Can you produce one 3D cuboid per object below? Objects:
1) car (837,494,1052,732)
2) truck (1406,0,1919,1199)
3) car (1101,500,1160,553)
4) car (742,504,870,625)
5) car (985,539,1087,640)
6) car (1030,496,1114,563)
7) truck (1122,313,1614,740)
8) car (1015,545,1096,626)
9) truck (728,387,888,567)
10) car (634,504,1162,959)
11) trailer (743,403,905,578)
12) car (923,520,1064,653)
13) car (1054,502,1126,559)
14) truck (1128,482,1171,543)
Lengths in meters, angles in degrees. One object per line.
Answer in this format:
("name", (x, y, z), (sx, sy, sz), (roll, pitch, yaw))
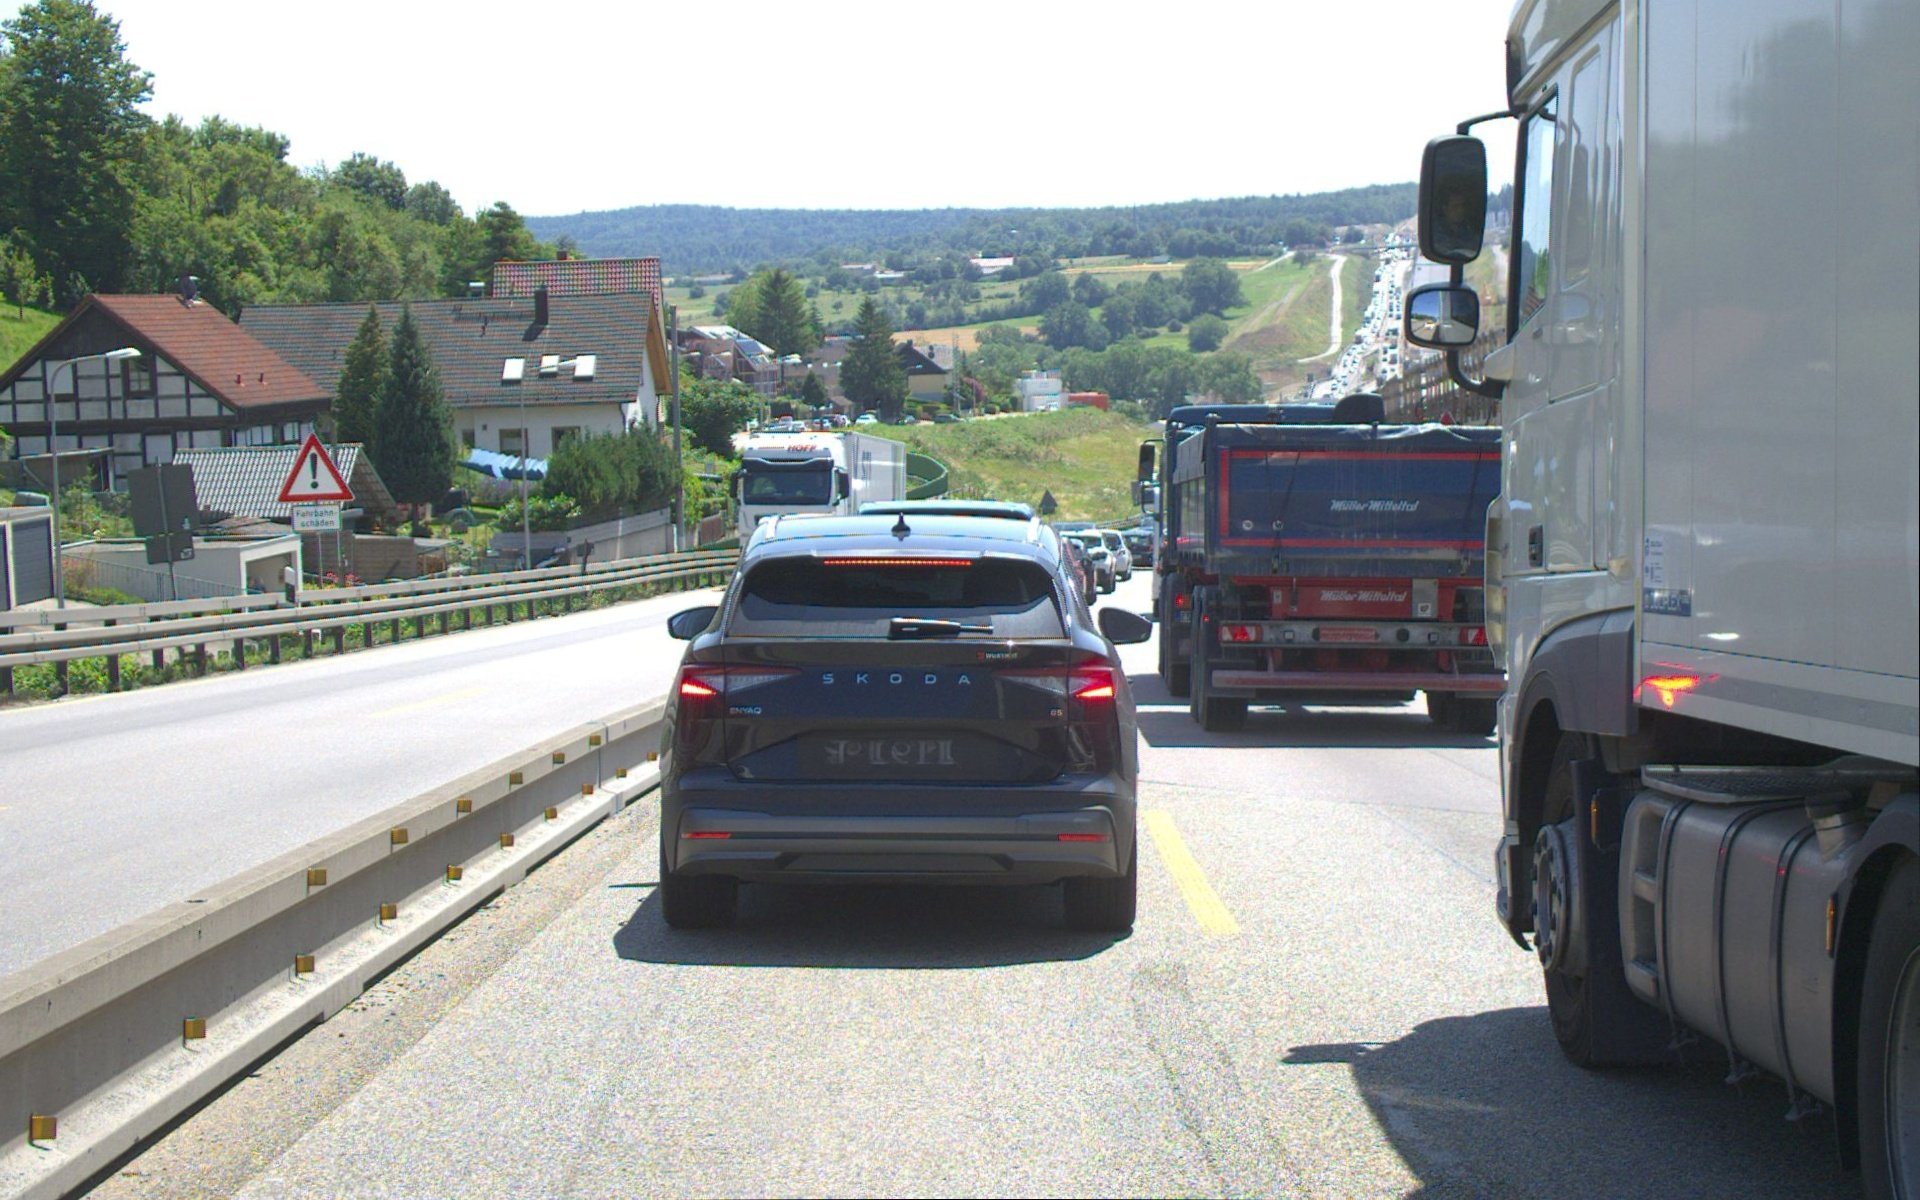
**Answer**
("car", (-0.171, 0.046, 29.922), (1.707, 1.875, 4.001), (1, 2, -1))
("truck", (2.888, -0.659, 7.325), (2.513, 4.011, 8.238), (1, 0, -2))
("car", (5.811, -2.495, 117.024), (1.701, 1.722, 3.835), (1, 0, 7))
("car", (-2.624, -0.608, 59.681), (1.993, 2.004, 4.858), (0, 0, 0))
("car", (1.370, -0.220, 60.682), (1.707, 1.616, 4.000), (1, 2, 2))
("car", (2.837, -1.756, 86.493), (1.994, 1.579, 3.836), (1, 1, 3))
("truck", (3.379, -0.613, 32.354), (3.195, 3.180, 12.809), (1, 1, 1))
("car", (2.134, -0.343, 76.076), (1.707, 1.616, 4.000), (1, 2, 2))
("truck", (-3.810, -3.062, 88.440), (3.303, 4.347, 8.300), (1, 0, 3))
("car", (-0.266, 0.450, 14.165), (1.842, 1.581, 3.908), (1, 1, -1))
("trailer", (-3.556, -2.825, 94.065), (3.252, 4.363, 14.058), (1, 1, 2))
("car", (0.402, -0.220, 45.822), (1.707, 1.616, 4.001), (1, 2, -1))
("car", (3.822, -2.023, 100.280), (1.994, 1.579, 3.836), (1, 1, 3))
("truck", (13.574, -6.275, 245.764), (2.752, 4.268, 4.956), (1, 2, 6))
